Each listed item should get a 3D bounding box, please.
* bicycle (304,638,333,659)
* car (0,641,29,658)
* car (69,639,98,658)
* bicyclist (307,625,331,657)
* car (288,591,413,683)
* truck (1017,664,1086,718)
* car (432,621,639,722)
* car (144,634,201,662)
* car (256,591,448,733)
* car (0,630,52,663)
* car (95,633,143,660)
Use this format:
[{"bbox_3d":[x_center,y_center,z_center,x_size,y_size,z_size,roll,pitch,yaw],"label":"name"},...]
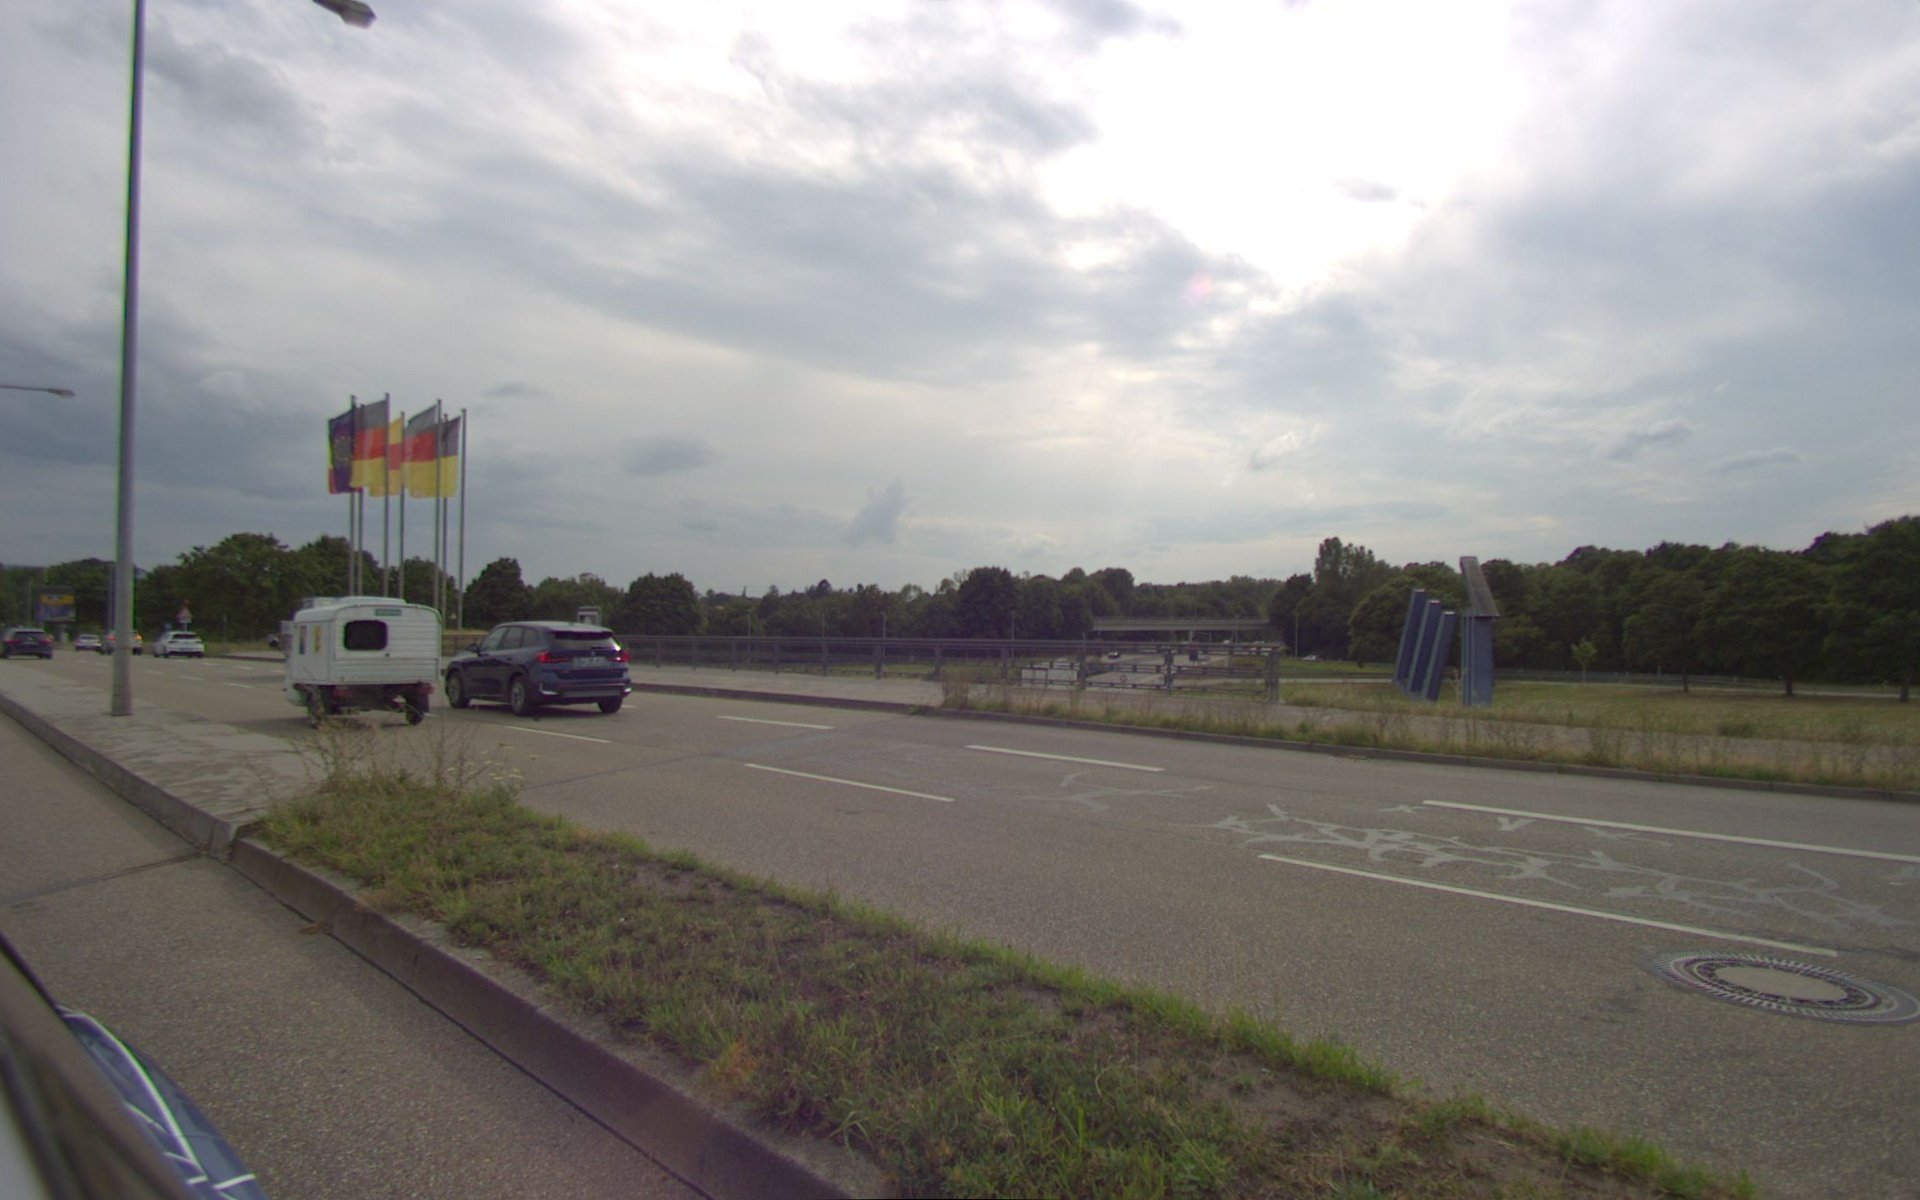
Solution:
[{"bbox_3d":[-33.311,2.520,52.527,2.058,1.057,0.699,-2,-2,40],"label":"bicycle"},{"bbox_3d":[-83.845,4.371,89.425,4.313,1.527,1.721,-2,-4,40],"label":"car"},{"bbox_3d":[-75.355,4.191,87.001,1.630,1.527,4.019,3,-5,-44],"label":"car"},{"bbox_3d":[-33.177,2.132,52.410,0.975,1.639,0.787,-2,-1,40],"label":"bicyclist"},{"bbox_3d":[-19.487,1.208,32.195,2.028,2.663,6.405,3,-4,-43],"label":"car"},{"bbox_3d":[9.199,8.804,99.635,3.009,4.376,13.904,-1,-2,22],"label":"truck"},{"bbox_3d":[-7.781,1.238,18.329,4.587,1.597,1.727,-2,-4,44],"label":"car"},{"bbox_3d":[-43.762,2.650,56.221,4.470,1.492,1.719,-2,-4,42],"label":"car"},{"bbox_3d":[-9.192,0.903,15.210,3.571,1.885,1.523,-2,-4,44],"label":"car"},{"bbox_3d":[-44.931,2.213,48.396,4.775,1.492,1.719,-2,-4,42],"label":"car"},{"bbox_3d":[-56.170,3.124,67.558,4.771,1.738,1.842,-2,-4,43],"label":"car"}]
